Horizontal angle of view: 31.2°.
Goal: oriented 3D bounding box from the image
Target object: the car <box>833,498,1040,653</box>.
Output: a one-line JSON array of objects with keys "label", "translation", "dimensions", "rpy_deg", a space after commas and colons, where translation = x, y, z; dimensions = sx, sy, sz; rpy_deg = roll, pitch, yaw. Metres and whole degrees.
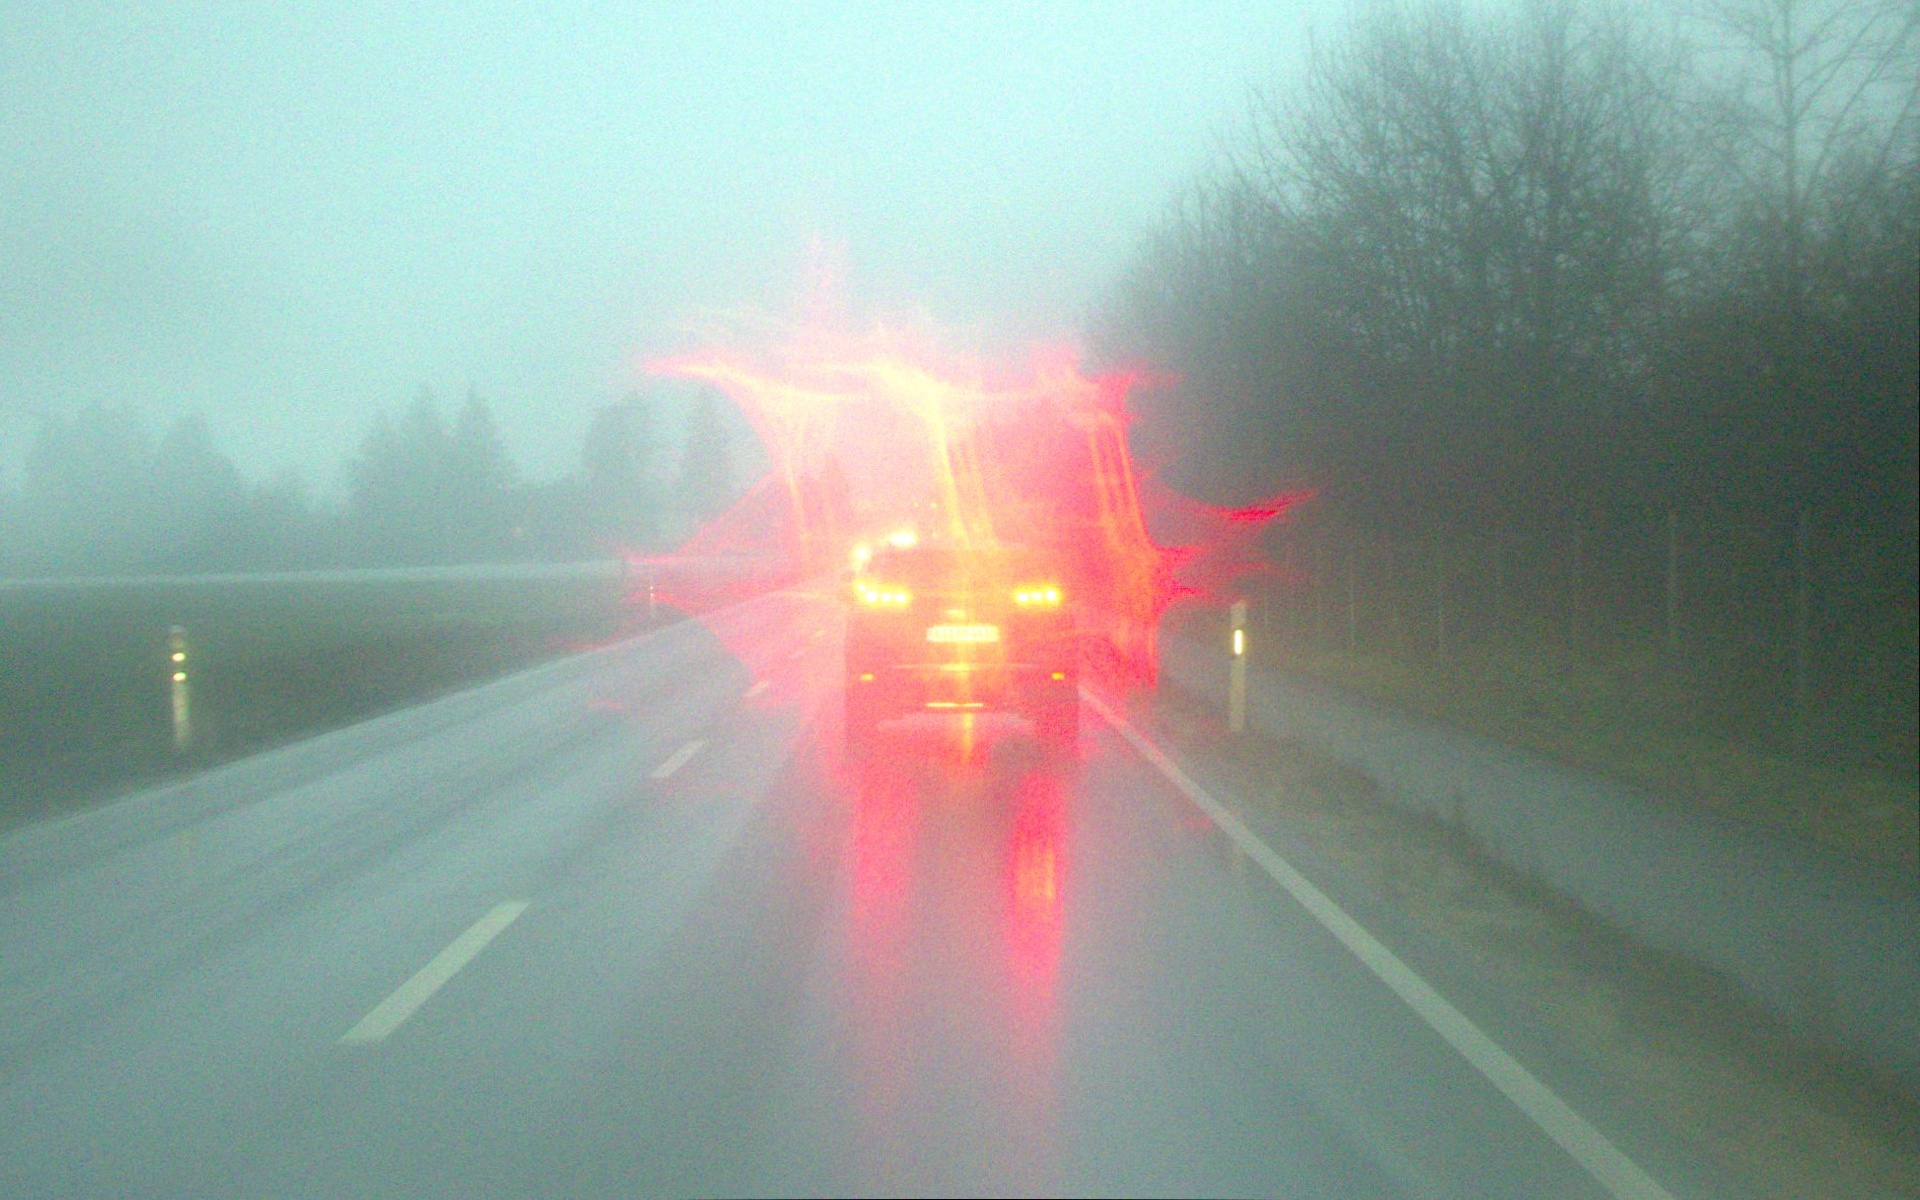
[{"label": "car", "translation": [-0.331, -0.401, 49.617], "dimensions": [2.756, 2.028, 6.591], "rpy_deg": [-1, 1, 0]}]

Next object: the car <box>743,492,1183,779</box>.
[{"label": "car", "translation": [0.007, 0.182, 28.493], "dimensions": [3.164, 2.028, 6.852], "rpy_deg": [-1, 1, 0]}]
